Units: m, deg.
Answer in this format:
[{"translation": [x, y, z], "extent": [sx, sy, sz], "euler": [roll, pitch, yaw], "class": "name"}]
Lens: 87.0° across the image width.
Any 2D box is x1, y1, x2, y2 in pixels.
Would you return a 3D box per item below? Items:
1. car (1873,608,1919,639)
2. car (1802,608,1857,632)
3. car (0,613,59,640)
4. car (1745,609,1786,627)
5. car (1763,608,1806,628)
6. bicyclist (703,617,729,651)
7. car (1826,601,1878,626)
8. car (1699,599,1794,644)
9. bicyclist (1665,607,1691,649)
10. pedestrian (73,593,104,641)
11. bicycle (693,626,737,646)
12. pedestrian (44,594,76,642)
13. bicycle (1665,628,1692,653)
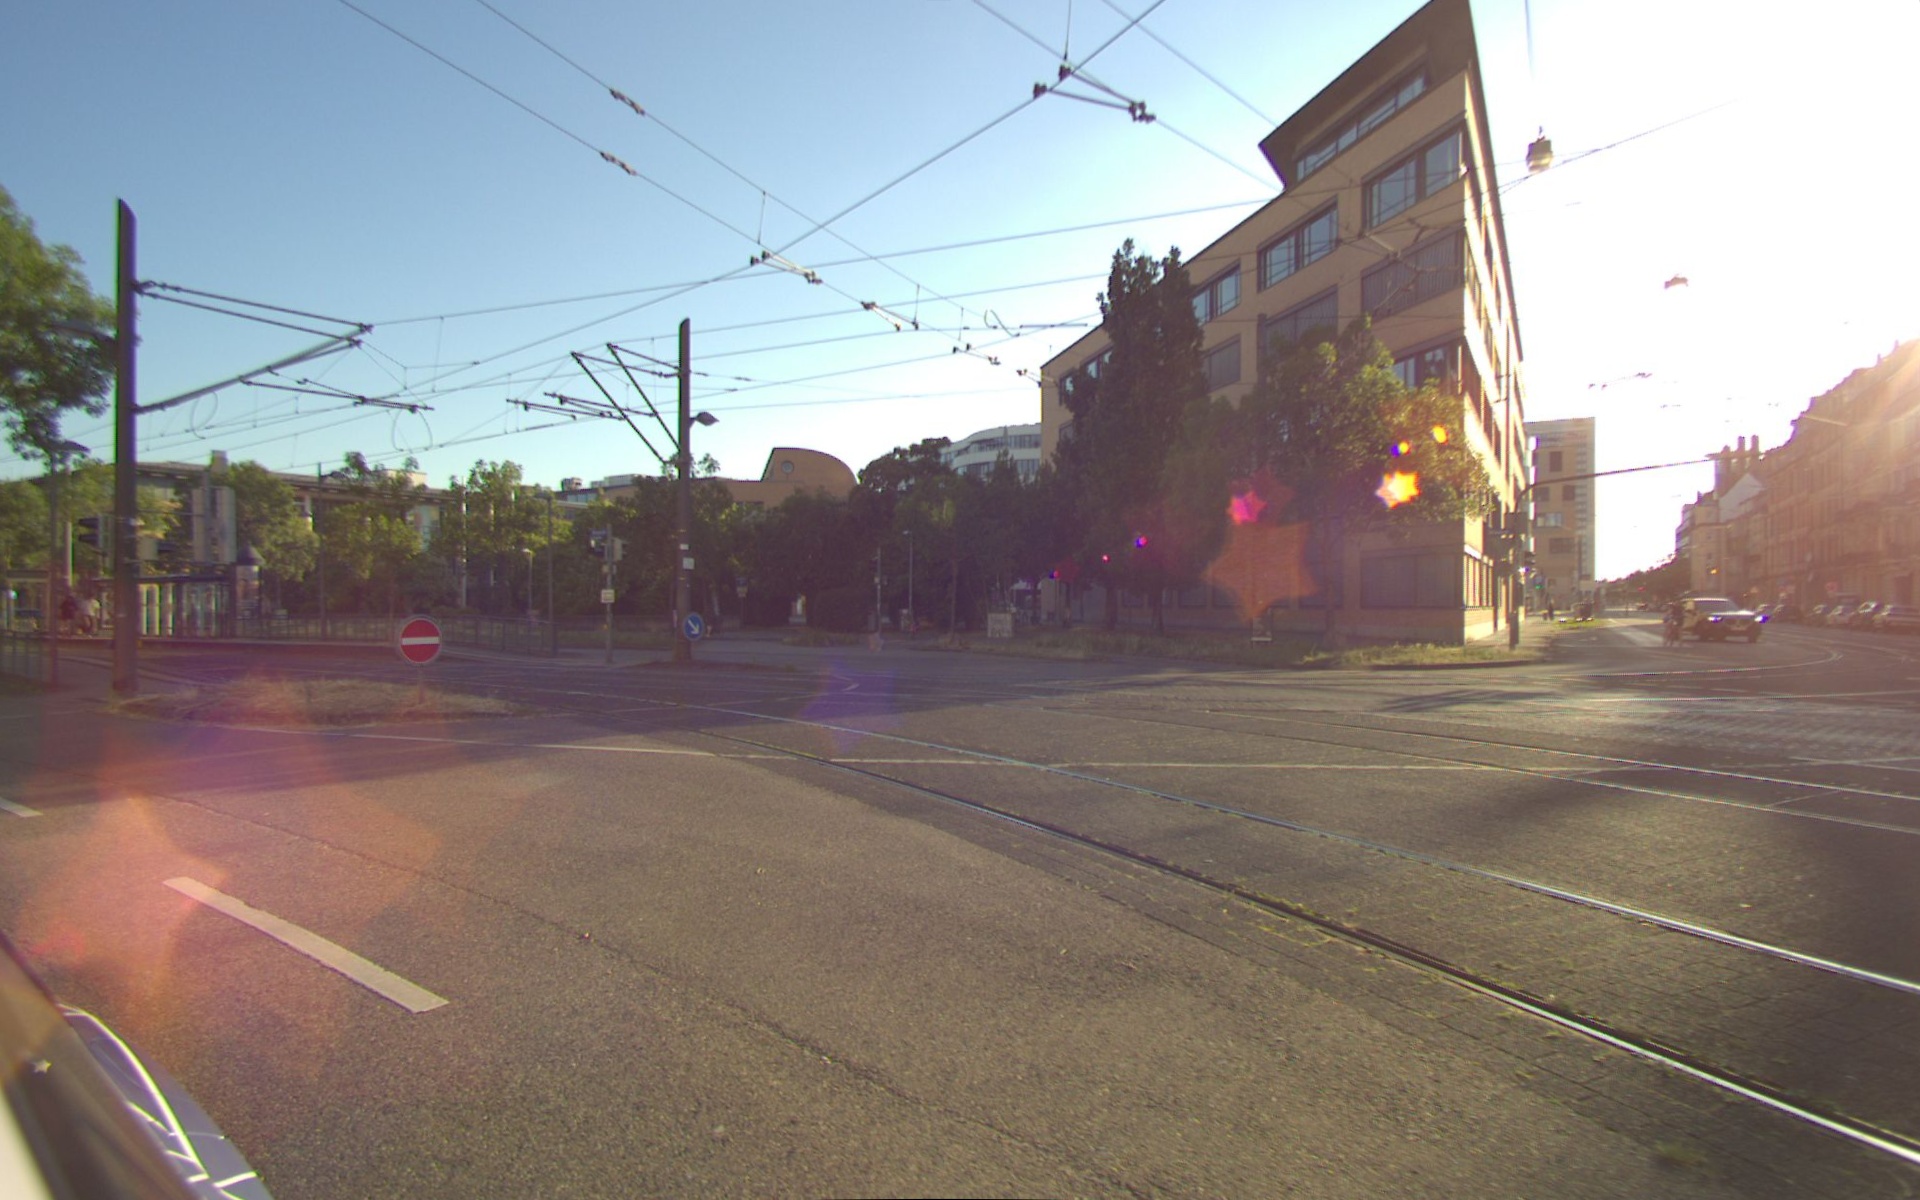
[{"translation": [48.184, 1.187, 51.570], "extent": [1.843, 1.497, 3.955], "euler": [-1, -1, 33], "class": "car"}, {"translation": [57.327, 1.289, 66.810], "extent": [1.872, 1.497, 3.962], "euler": [-1, -1, 28], "class": "car"}, {"translation": [-56.005, 1.560, 60.540], "extent": [4.879, 1.563, 1.978], "euler": [-1, 0, 33], "class": "car"}, {"translation": [68.506, 1.526, 86.119], "extent": [1.991, 1.497, 3.962], "euler": [-1, -1, 28], "class": "car"}, {"translation": [64.863, 1.415, 79.671], "extent": [1.860, 1.497, 3.962], "euler": [-1, -1, 28], "class": "car"}, {"translation": [-10.906, 1.514, 45.187], "extent": [0.825, 1.478, 0.761], "euler": [-1, -1, 34], "class": "bicyclist"}, {"translation": [55.112, 0.812, 62.577], "extent": [1.843, 1.497, 3.955], "euler": [-1, -1, 33], "class": "car"}, {"translation": [28.159, 0.747, 36.380], "extent": [1.991, 1.497, 3.962], "euler": [-1, -1, 28], "class": "car"}, {"translation": [25.263, 0.991, 35.616], "extent": [0.665, 1.464, 0.736], "euler": [-1, -1, 32], "class": "bicyclist"}, {"translation": [-37.629, 0.730, 43.706], "extent": [1.124, 2.029, 0.763], "euler": [-1, -1, 34], "class": "pedestrian"}, {"translation": [-10.950, 1.605, 45.211], "extent": [1.961, 0.827, 0.767], "euler": [-1, -1, 35], "class": "bicycle"}, {"translation": [-38.647, 0.770, 43.465], "extent": [1.124, 2.029, 0.763], "euler": [-1, -1, 34], "class": "pedestrian"}, {"translation": [25.237, 1.420, 35.570], "extent": [0.656, 0.839, 1.673], "euler": [-1, -1, 32], "class": "bicycle"}]
